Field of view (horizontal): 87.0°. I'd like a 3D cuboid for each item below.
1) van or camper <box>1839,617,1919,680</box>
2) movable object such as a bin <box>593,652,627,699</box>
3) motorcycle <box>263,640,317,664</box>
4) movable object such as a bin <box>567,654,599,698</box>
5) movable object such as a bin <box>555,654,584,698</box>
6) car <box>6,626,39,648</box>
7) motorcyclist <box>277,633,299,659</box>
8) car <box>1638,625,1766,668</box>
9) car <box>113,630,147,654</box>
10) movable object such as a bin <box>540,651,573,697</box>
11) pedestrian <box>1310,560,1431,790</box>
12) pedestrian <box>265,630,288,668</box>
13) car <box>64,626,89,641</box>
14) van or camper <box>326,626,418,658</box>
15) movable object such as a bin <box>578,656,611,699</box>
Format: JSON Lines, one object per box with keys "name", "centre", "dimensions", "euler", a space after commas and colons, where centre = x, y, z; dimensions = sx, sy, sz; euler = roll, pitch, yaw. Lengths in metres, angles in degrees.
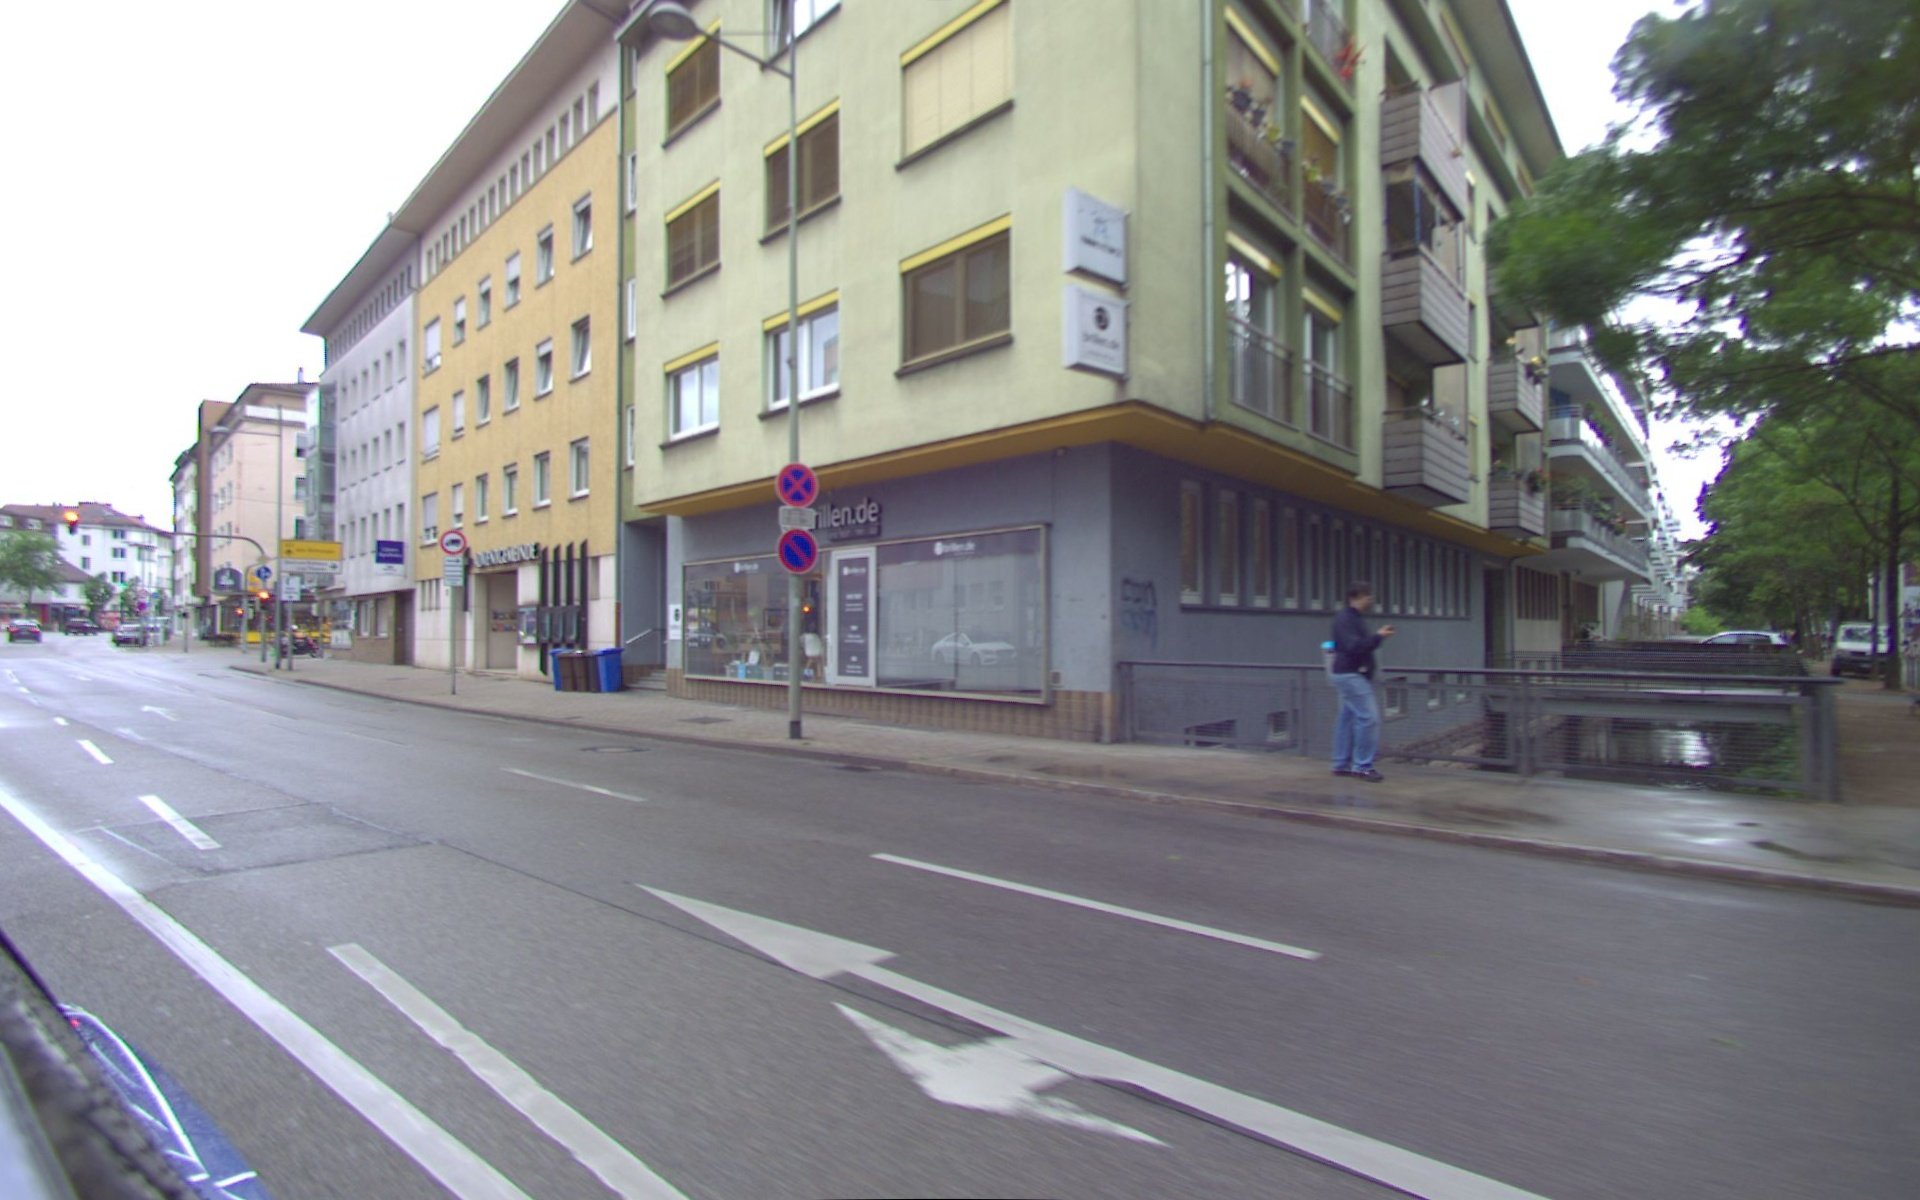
{"name": "van or camper", "centre": [32.644, 1.702, 35.989], "dimensions": [1.825, 2.029, 4.576], "euler": [1, -1, 38]}
{"name": "movable object such as a bin", "centre": [-7.672, 1.655, 22.167], "dimensions": [0.522, 0.968, 0.435], "euler": [-4, 1, -42]}
{"name": "motorcycle", "centre": [-34.661, 2.680, 52.346], "dimensions": [2.257, 1.172, 0.775], "euler": [1, -2, -40]}
{"name": "movable object such as a bin", "centre": [-8.456, 1.700, 22.696], "dimensions": [0.521, 0.935, 0.426], "euler": [-4, 1, -42]}
{"name": "movable object such as a bin", "centre": [-8.870, 1.721, 22.989], "dimensions": [0.458, 0.935, 0.429], "euler": [-4, 1, -42]}
{"name": "car", "centre": [-70.660, 2.759, 76.330], "dimensions": [1.723, 1.608, 4.005], "euler": [2, -2, -42]}
{"name": "motorcyclist", "centre": [-34.757, 2.371, 52.330], "dimensions": [0.859, 1.337, 0.493], "euler": [2, -3, -41]}
{"name": "car", "centre": [29.775, 1.821, 40.658], "dimensions": [3.998, 1.608, 1.757], "euler": [-1, -2, 41]}
{"name": "car", "centre": [-60.072, 3.032, 73.253], "dimensions": [1.807, 1.634, 4.007], "euler": [1, -2, -39]}
{"name": "movable object such as a bin", "centre": [-9.416, 1.721, 23.622], "dimensions": [0.510, 1.008, 0.524], "euler": [-4, 1, -42]}
{"name": "pedestrian", "centre": [3.844, 0.677, 9.483], "dimensions": [0.741, 2.029, 0.783], "euler": [2, -3, -42]}
{"name": "pedestrian", "centre": [-30.013, 2.146, 44.440], "dimensions": [0.773, 1.600, 0.675], "euler": [-2, -1, -29]}
{"name": "car", "centre": [-89.658, 3.423, 102.760], "dimensions": [1.567, 1.539, 3.496], "euler": [1, -2, -36]}
{"name": "van or camper", "centre": [-39.290, 2.793, 67.692], "dimensions": [4.954, 2.029, 2.002], "euler": [2, -1, -44]}
{"name": "movable object such as a bin", "centre": [-8.094, 1.707, 22.409], "dimensions": [0.522, 0.902, 0.435], "euler": [-4, 1, -42]}
